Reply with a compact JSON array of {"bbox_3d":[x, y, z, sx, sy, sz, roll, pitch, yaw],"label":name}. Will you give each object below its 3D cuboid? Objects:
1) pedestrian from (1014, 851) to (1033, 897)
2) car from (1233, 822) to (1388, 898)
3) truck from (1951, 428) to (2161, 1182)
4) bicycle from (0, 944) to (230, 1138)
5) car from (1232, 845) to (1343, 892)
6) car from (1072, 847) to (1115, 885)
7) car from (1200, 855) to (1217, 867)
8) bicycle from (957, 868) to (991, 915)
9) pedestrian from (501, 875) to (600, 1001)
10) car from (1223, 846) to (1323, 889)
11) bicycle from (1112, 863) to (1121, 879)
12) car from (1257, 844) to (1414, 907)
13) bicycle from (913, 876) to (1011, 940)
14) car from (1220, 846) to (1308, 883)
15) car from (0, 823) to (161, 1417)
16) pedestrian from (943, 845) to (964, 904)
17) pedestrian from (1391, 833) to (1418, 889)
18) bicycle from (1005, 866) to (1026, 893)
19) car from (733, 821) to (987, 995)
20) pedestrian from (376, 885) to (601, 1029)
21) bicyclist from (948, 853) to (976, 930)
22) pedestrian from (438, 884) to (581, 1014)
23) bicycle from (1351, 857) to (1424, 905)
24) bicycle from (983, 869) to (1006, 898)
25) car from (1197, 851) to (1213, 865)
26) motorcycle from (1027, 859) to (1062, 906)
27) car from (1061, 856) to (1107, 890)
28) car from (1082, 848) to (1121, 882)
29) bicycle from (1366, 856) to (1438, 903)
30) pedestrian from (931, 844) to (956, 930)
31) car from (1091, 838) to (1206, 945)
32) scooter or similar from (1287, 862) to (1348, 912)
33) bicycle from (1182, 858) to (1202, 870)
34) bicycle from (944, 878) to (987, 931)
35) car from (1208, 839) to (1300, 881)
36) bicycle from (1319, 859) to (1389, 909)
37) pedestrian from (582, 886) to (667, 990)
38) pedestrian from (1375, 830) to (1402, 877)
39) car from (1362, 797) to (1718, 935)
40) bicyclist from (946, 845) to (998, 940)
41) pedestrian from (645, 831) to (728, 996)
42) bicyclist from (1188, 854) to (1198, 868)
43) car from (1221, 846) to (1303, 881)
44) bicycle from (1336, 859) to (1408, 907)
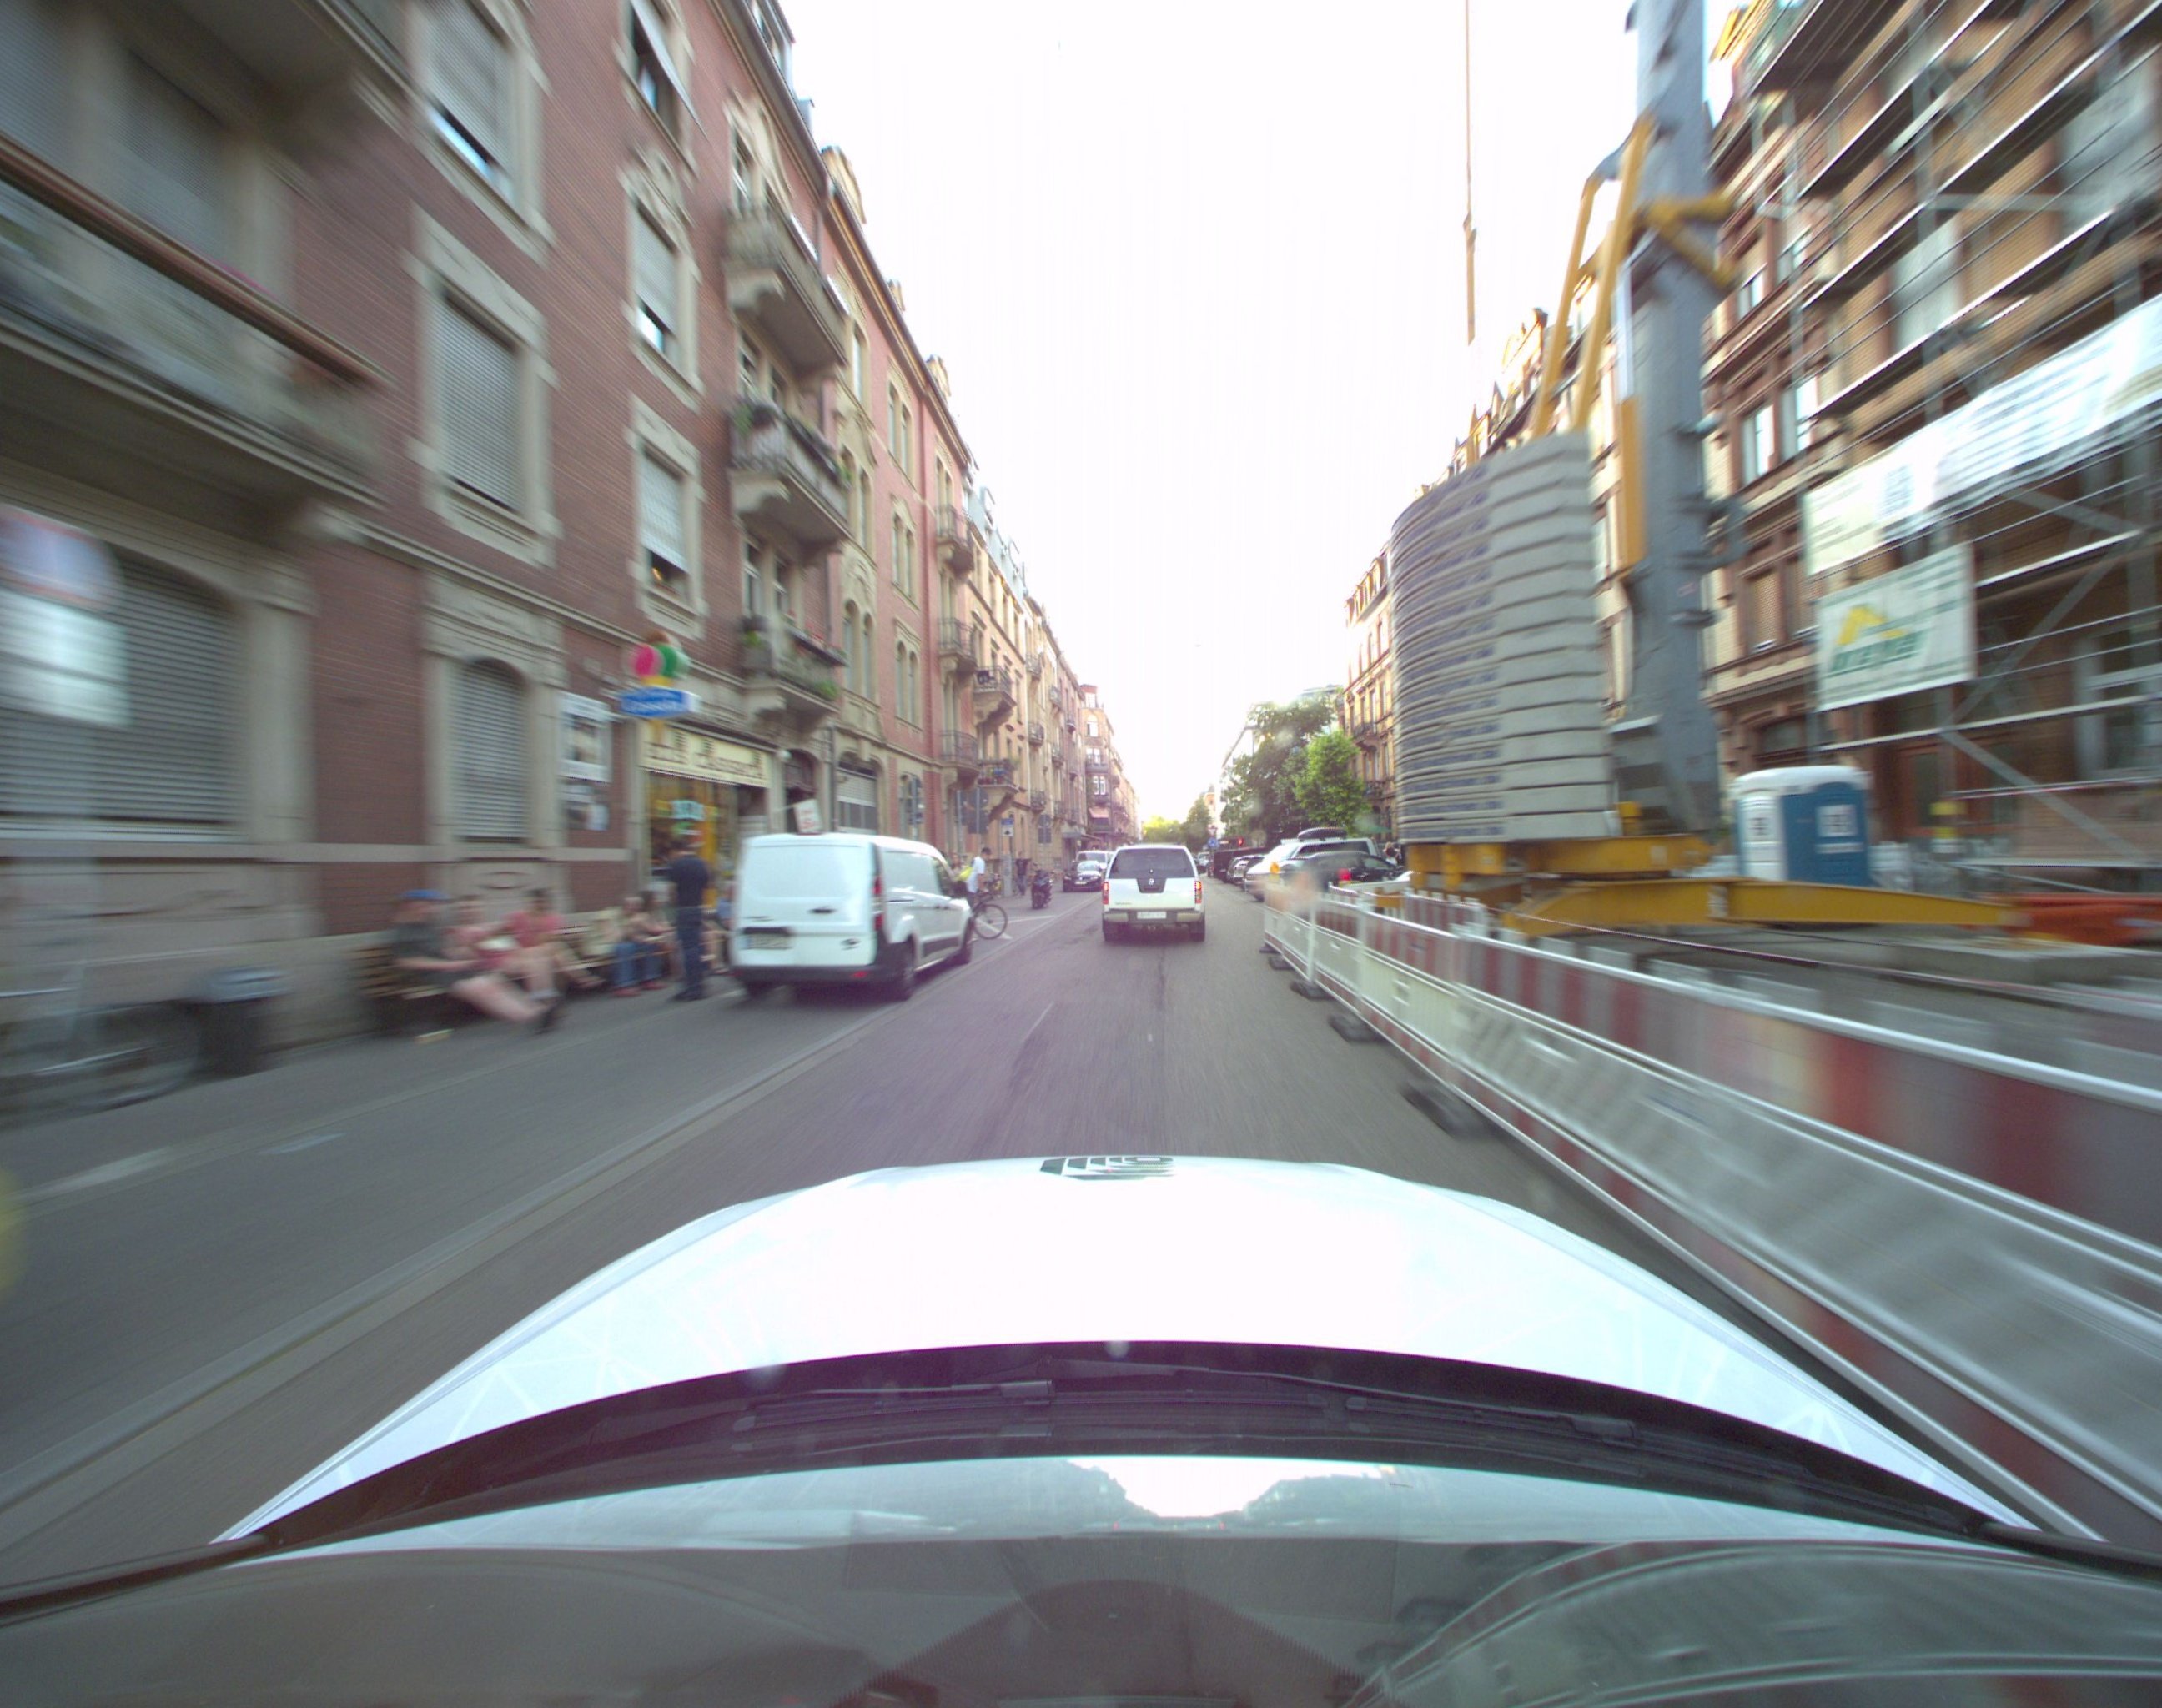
[{"bbox_3d":[-2.316,0.790,32.735,0.679,1.810,0.961,0,-1,1],"label":"pedestrian"},{"bbox_3d":[7.985,0.180,28.364,4.940,2.362,1.986,-2,0,-20],"label":"car"},{"bbox_3d":[7.541,-0.227,2.499,6.442,3.077,2.531,-1,-1,9],"label":"truck"},{"bbox_3d":[-6.046,1.074,4.568,0.355,0.945,1.996,0,-1,3],"label":"bicycle"},{"bbox_3d":[8.606,0.570,33.875,4.174,1.590,1.870,-4,1,-25],"label":"car"},{"bbox_3d":[0.742,0.635,44.713,1.827,1.921,4.855,-2,-1,7],"label":"car"},{"bbox_3d":[15.845,0.893,101.101,1.826,1.542,4.006,0,-1,5],"label":"car"},{"bbox_3d":[-2.755,0.952,21.105,0.409,1.160,1.841,-1,-1,7],"label":"bicycle"},{"bbox_3d":[-5.484,0.850,8.442,0.616,1.251,0.586,0,-1,4],"label":"pedestrian"},{"bbox_3d":[8.689,0.579,36.806,4.116,1.590,1.803,-4,0,-25],"label":"car"},{"bbox_3d":[2.650,1.237,60.305,0.468,1.142,1.789,-1,-1,10],"label":"bicycle"},{"bbox_3d":[7.116,0.566,22.855,3.868,1.516,1.835,-2,0,-20],"label":"car"},{"bbox_3d":[-2.254,1.003,15.437,1.780,1.155,0.518,0,-1,-16],"label":"bicycle"},{"bbox_3d":[9.521,0.547,42.356,4.117,1.551,1.803,-4,0,-26],"label":"car"},{"bbox_3d":[-3.850,0.701,0.645,1.696,1.530,3.800,-1,0,8],"label":"car"},{"bbox_3d":[-3.941,0.637,25.269,0.460,1.789,0.643,-1,-1,9],"label":"pedestrian"},{"bbox_3d":[11.850,0.258,29.849,0.625,2.014,0.652,0,-1,-18],"label":"pedestrian"},{"bbox_3d":[-2.790,1.080,34.782,0.747,1.101,2.025,0,-1,0],"label":"bicycle"},{"bbox_3d":[-2.565,0.599,10.735,1.762,1.789,4.592,-1,-1,4],"label":"car"},{"bbox_3d":[-5.249,0.894,7.273,1.554,1.203,0.642,0,-1,4],"label":"pedestrian"},{"bbox_3d":[-2.505,0.778,17.170,0.463,1.590,0.488,-1,-1,9],"label":"bicyclist"},{"bbox_3d":[-5.510,0.900,7.879,1.034,1.203,0.504,0,-1,4],"label":"pedestrian"},{"bbox_3d":[7.756,0.682,20.694,0.498,1.136,1.797,-4,1,-28],"label":"bicycle"},{"bbox_3d":[-3.166,1.076,30.020,0.445,1.030,1.744,-1,-1,7],"label":"bicycle"},{"bbox_3d":[16.659,0.558,109.864,1.933,1.934,4.006,0,-1,5],"label":"car"},{"bbox_3d":[-1.117,0.859,25.368,0.681,1.405,2.019,-1,-1,9],"label":"motorcycle"},{"bbox_3d":[0.197,0.884,38.932,1.828,1.471,4.177,-1,-1,4],"label":"car"},{"bbox_3d":[1.331,0.674,50.842,2.099,1.921,5.032,-1,-1,5],"label":"car"},{"bbox_3d":[8.232,0.650,20.966,0.498,1.136,1.797,-4,1,-28],"label":"bicycle"},{"bbox_3d":[-2.747,0.655,16.296,0.416,1.709,0.350,0,-1,1],"label":"pedestrian"},{"bbox_3d":[1.518,0.673,16.327,1.926,1.810,5.013,-1,-1,9],"label":"car"},{"bbox_3d":[5.808,0.792,20.082,0.656,1.150,1.475,-4,0,-18],"label":"scooter or similar"},{"bbox_3d":[11.512,1.016,84.294,1.912,1.171,0.600,-1,-1,26],"label":"bicycle"},{"bbox_3d":[-2.464,1.060,17.453,0.463,1.068,1.524,-1,-1,9],"label":"bicycle"},{"bbox_3d":[10.287,0.360,48.339,5.457,2.072,1.913,-4,0,-32],"label":"car"},{"bbox_3d":[6.704,0.722,20.091,0.497,1.136,1.799,-4,1,-25],"label":"bicycle"},{"bbox_3d":[-5.249,0.952,9.389,0.629,1.140,0.573,0,-1,4],"label":"pedestrian"},{"bbox_3d":[11.122,-0.021,29.428,0.626,1.681,0.651,0,-1,-21],"label":"pedestrian"},{"bbox_3d":[7.964,0.200,14.580,5.148,1.955,1.902,-4,0,5],"label":"car"},{"bbox_3d":[-2.026,0.705,15.124,0.779,1.704,0.532,-1,-1,29],"label":"bicyclist"},{"bbox_3d":[-4.352,0.632,8.997,0.612,1.730,0.589,-1,-1,34],"label":"pedestrian"},{"bbox_3d":[11.604,0.696,84.264,0.863,1.466,0.579,-1,-1,26],"label":"bicyclist"},{"bbox_3d":[10.013,0.523,45.005,4.117,1.551,1.803,-4,0,-26],"label":"car"},{"bbox_3d":[7.259,0.712,20.398,0.498,1.136,1.797,-4,1,-28],"label":"bicycle"}]
